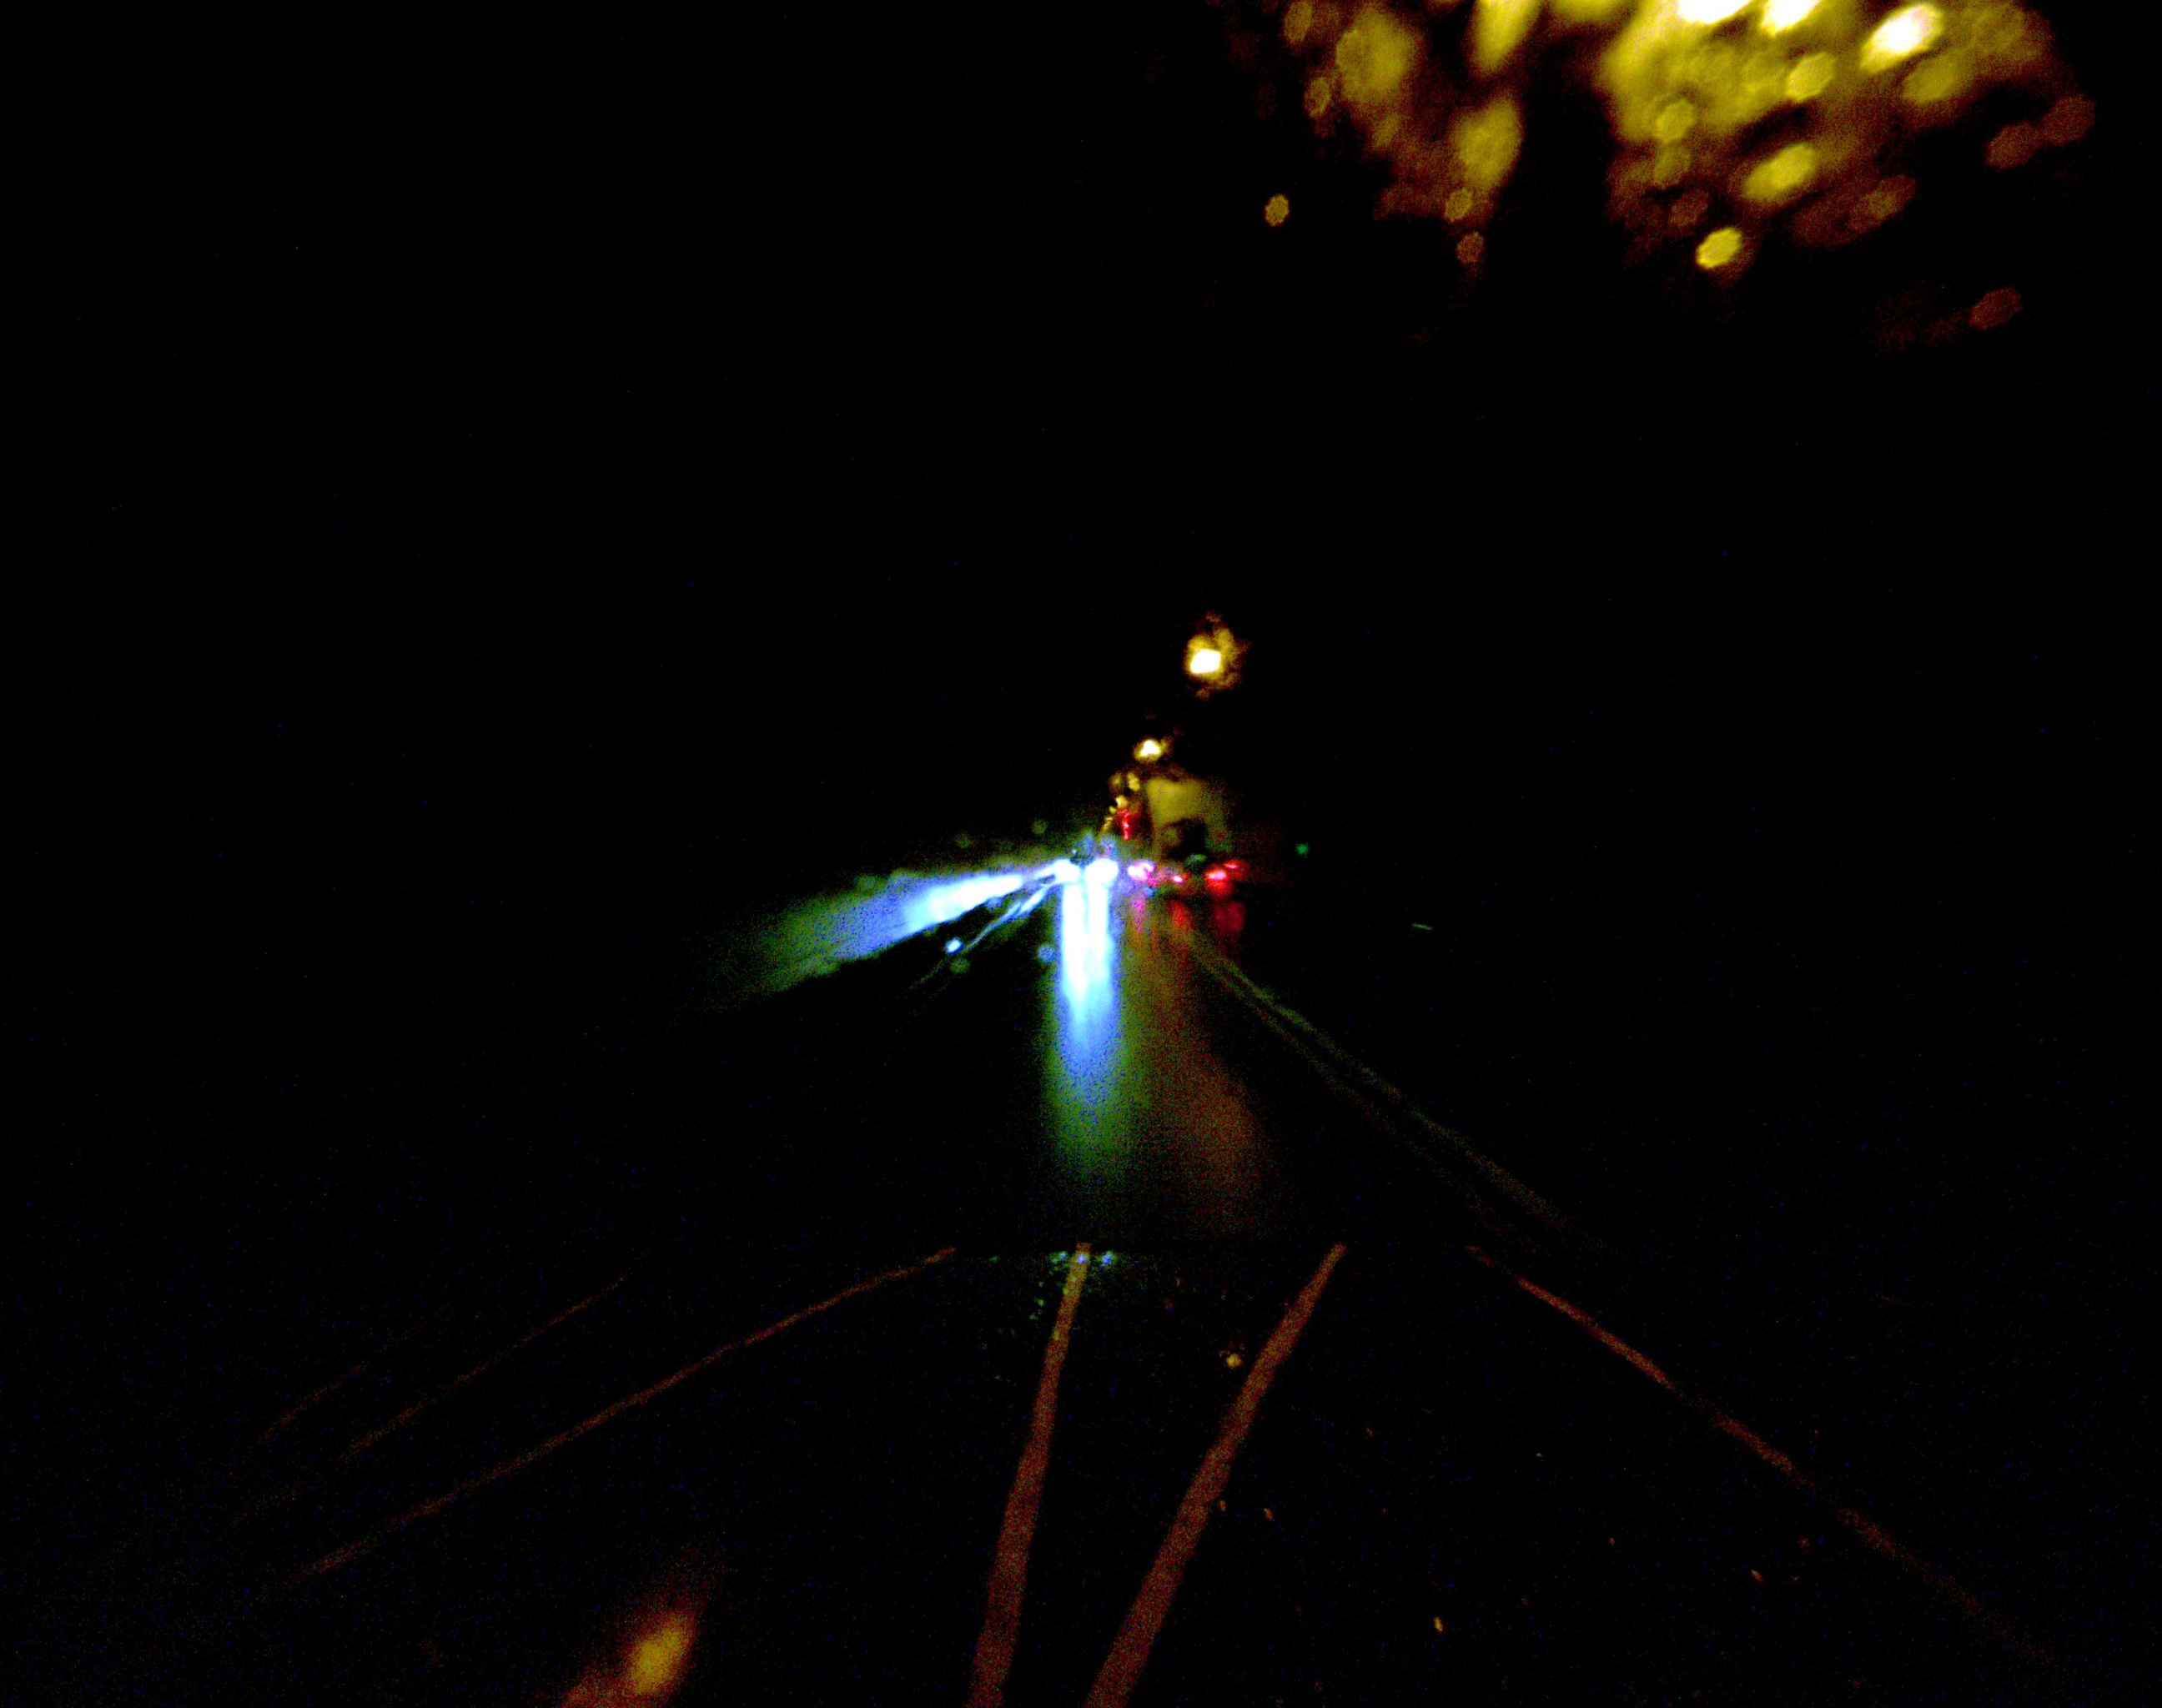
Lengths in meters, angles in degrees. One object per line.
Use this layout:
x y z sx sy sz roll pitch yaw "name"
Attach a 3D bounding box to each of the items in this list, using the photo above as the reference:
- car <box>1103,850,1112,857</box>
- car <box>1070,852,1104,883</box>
6.333 -0.086 182.841 1.888 1.595 4.000 -3 1 3 "car"
0.374 0.736 43.473 1.730 1.595 4.000 -3 1 2 "car"
